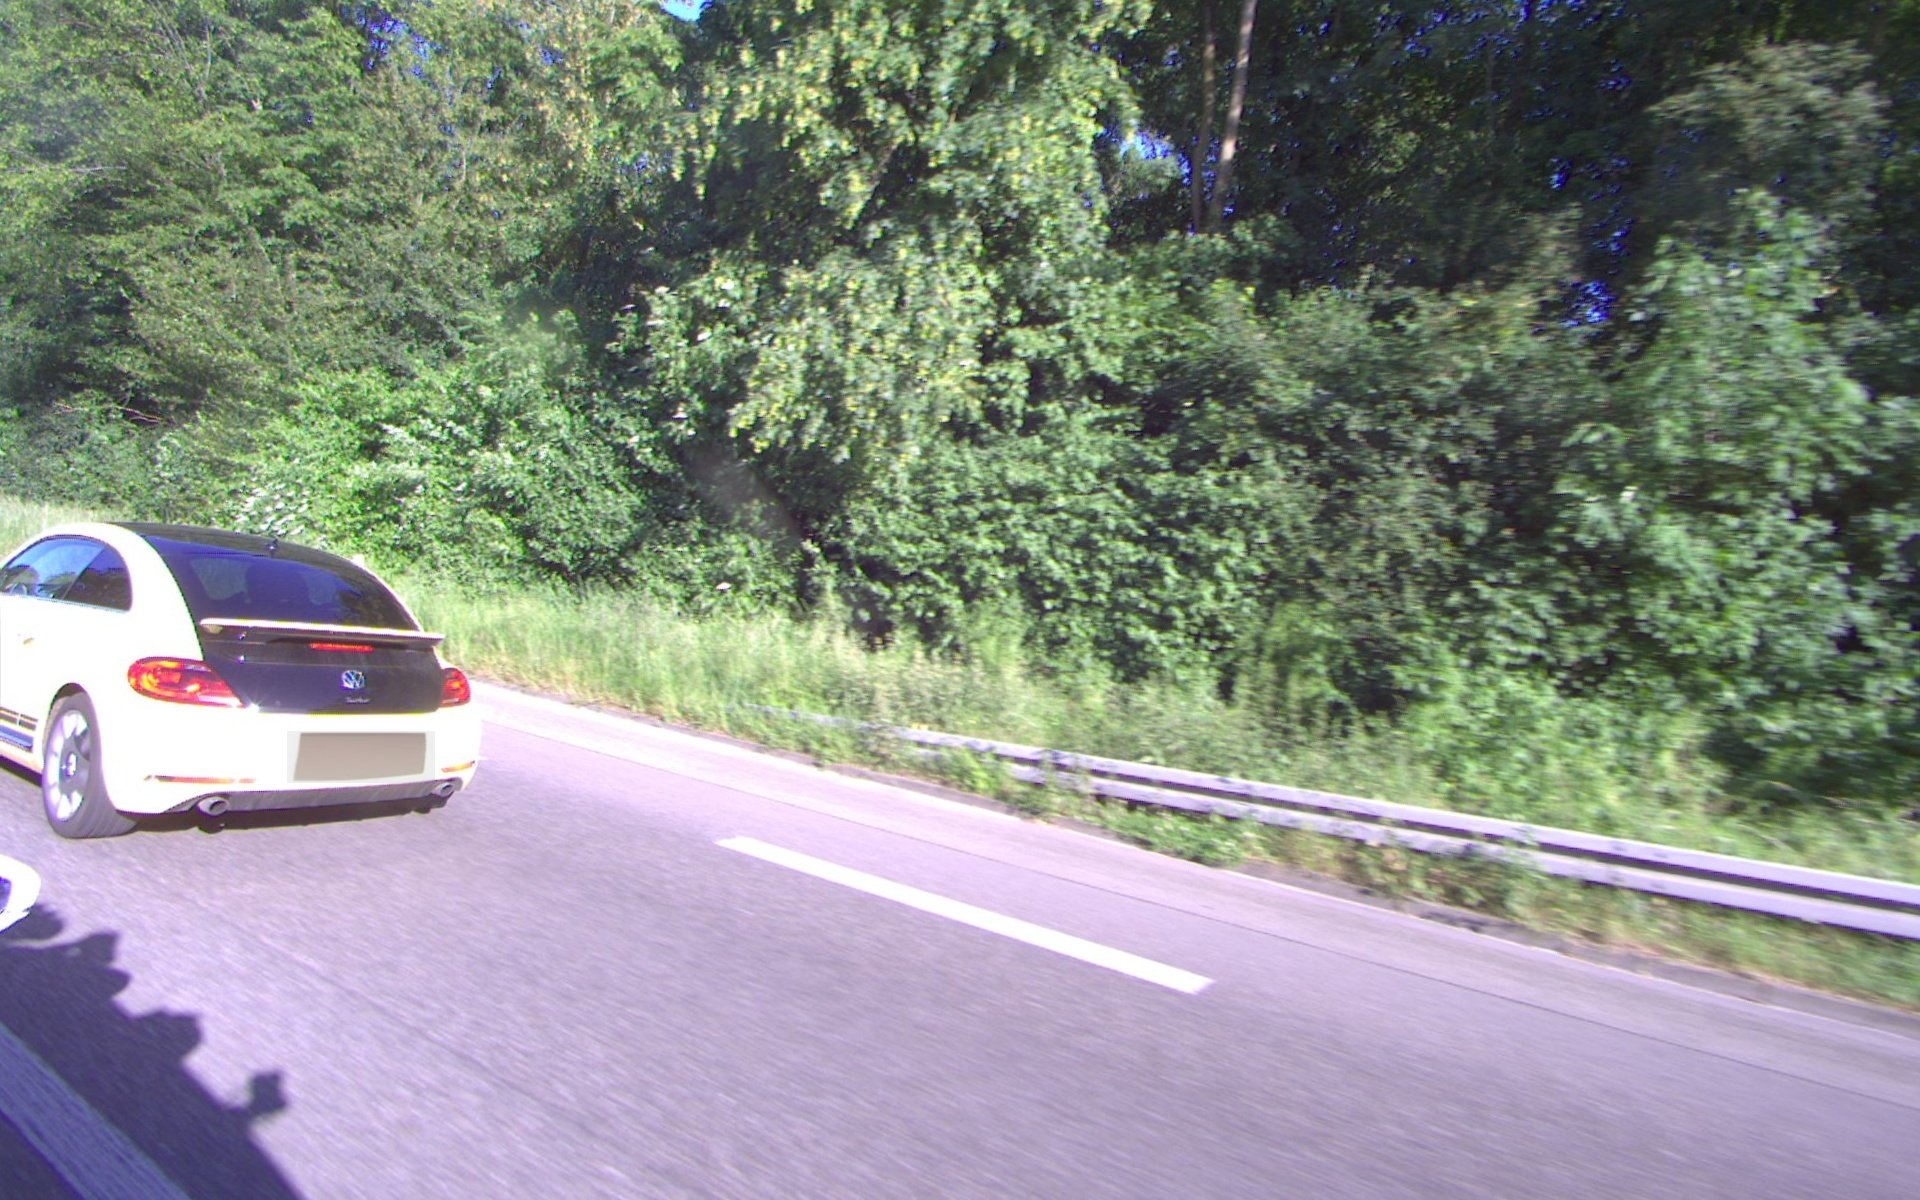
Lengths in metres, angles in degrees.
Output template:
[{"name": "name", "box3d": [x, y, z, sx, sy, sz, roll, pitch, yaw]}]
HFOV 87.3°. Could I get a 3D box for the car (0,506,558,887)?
[{"name": "car", "box3d": [-4.684, 0.322, 6.045, 4.283, 1.479, 1.883, 6, -1, 31]}]
